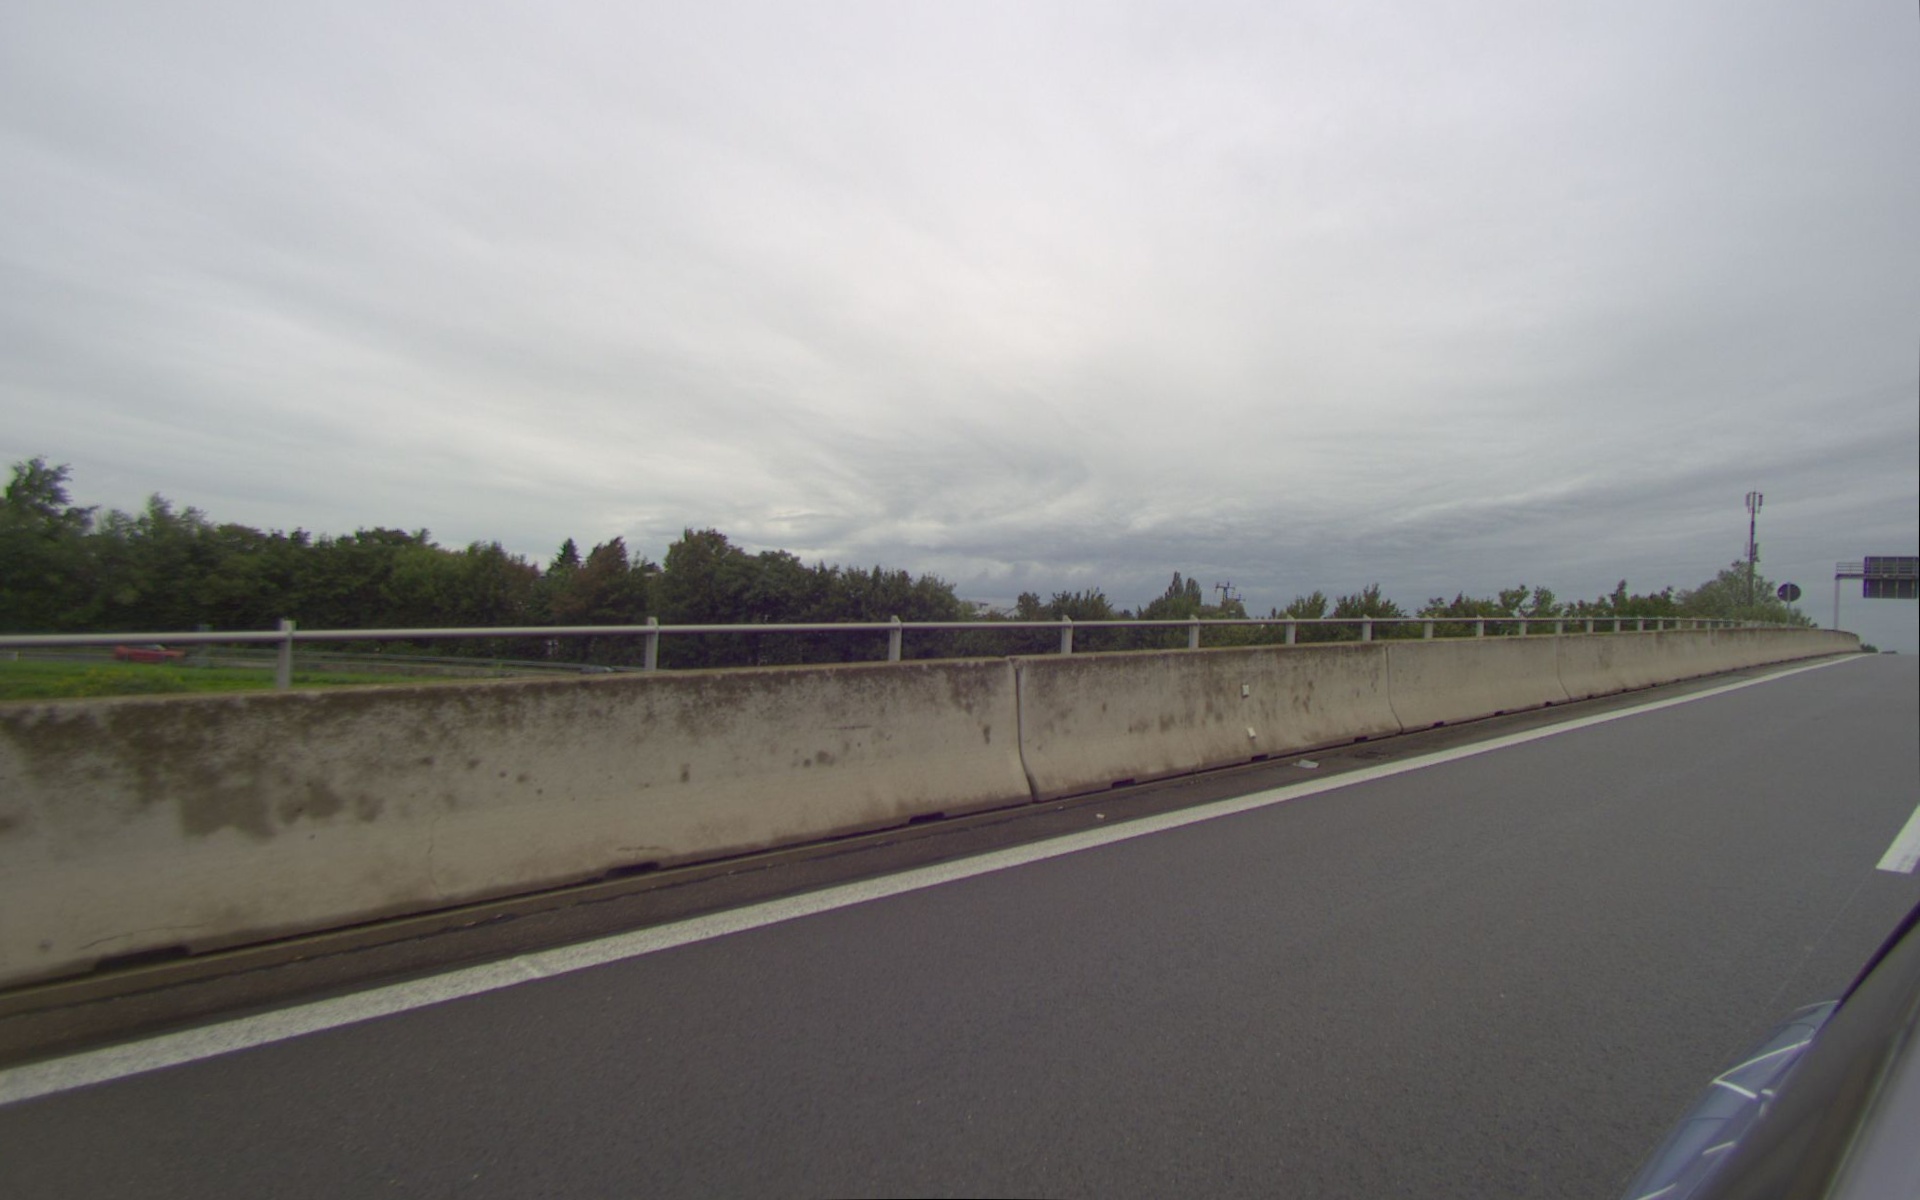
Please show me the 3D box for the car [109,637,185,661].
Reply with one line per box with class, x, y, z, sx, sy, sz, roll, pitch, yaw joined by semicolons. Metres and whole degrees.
car;-65.312;3.910;81.397;4.430;1.623;1.720;-2;1;-21
